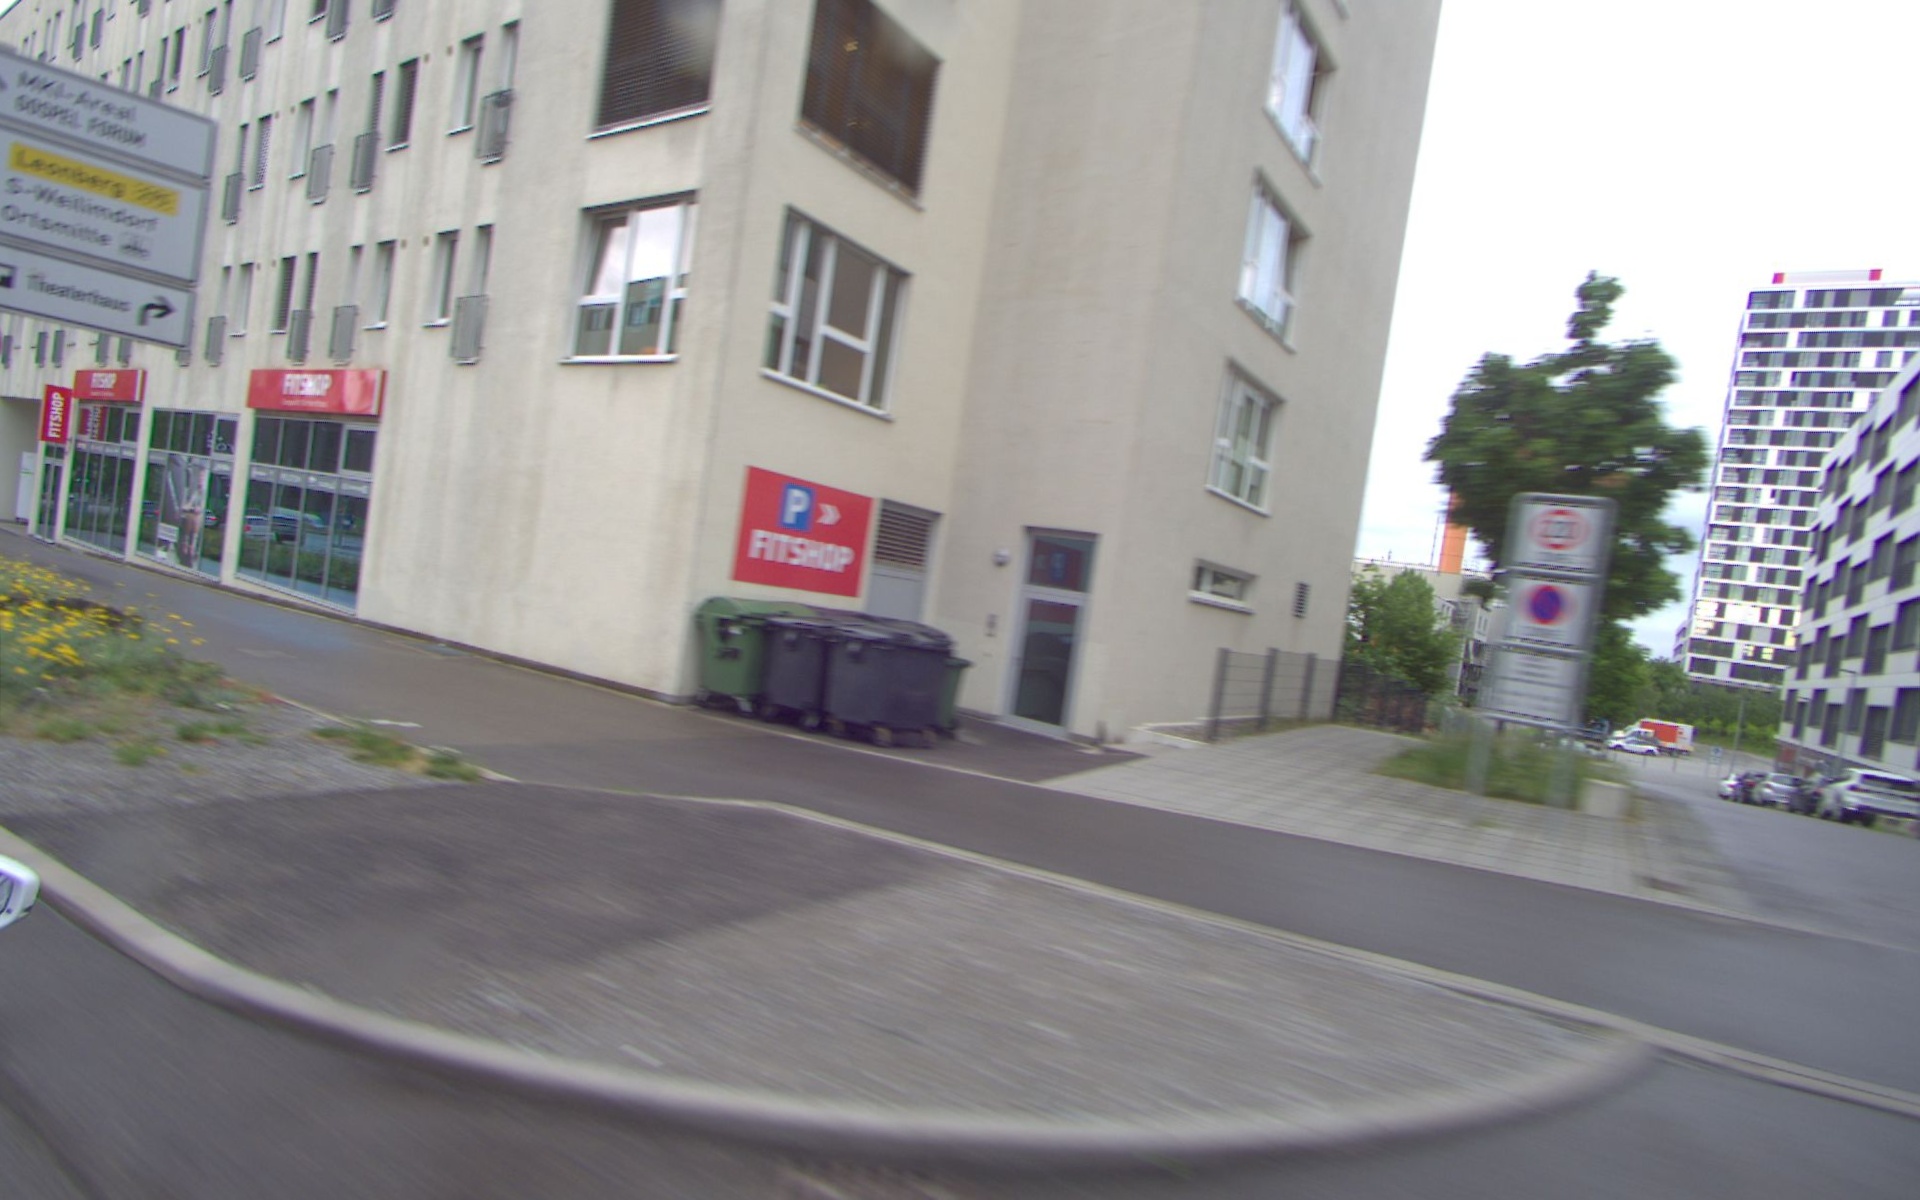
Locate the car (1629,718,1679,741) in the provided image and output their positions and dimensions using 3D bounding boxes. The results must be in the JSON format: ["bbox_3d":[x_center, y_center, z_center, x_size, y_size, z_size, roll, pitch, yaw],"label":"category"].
[{"bbox_3d":[77.039,14.382,111.728,4.334,1.805,1.892,7,-3,33],"label":"car"}]

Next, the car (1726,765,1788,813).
[{"bbox_3d":[37.025,8.735,46.808,1.637,1.574,3.803,7,0,32],"label":"car"}]

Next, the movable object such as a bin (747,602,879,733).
[{"bbox_3d":[-1.802,0.829,12.405,1.040,1.420,1.022,8,1,33],"label":"movable object such as a bin"}]

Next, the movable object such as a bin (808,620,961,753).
[{"bbox_3d":[-0.874,0.991,11.834,1.172,1.337,1.235,7,1,33],"label":"movable object such as a bin"}]

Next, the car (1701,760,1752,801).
[{"bbox_3d":[40.687,9.561,53.478,1.637,1.574,3.803,7,0,32],"label":"car"}]

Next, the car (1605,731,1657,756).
[{"bbox_3d":[64.849,13.897,97.344,3.934,1.633,1.892,7,-3,33],"label":"car"}]

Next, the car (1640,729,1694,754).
[{"bbox_3d":[73.172,14.645,104.171,4.334,1.805,1.892,7,-3,33],"label":"car"}]

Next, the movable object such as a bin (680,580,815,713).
[{"bbox_3d":[-2.706,0.600,12.883,0.997,1.522,1.174,8,1,34],"label":"movable object such as a bin"}]

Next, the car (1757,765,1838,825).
[{"bbox_3d":[31.342,7.271,37.759,1.637,1.574,3.803,7,0,32],"label":"car"}]

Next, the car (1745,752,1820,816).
[{"bbox_3d":[34.644,7.691,42.461,1.709,2.038,3.992,7,0,32],"label":"car"}]

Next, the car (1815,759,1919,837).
[{"bbox_3d":[26.068,5.612,28.856,1.637,1.574,3.803,7,0,32],"label":"car"}]

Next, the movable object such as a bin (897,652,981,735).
[{"bbox_3d":[-0.295,1.322,14.312,0.839,1.039,0.699,8,1,33],"label":"movable object such as a bin"}]

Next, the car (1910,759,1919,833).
[{"bbox_3d":[19.391,3.889,18.557,1.759,1.564,3.992,7,0,32],"label":"car"}]

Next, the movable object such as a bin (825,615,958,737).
[{"bbox_3d":[-0.906,1.011,13.498,1.094,1.420,1.262,8,1,33],"label":"movable object such as a bin"}]

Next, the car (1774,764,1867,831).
[{"bbox_3d":[28.728,6.534,33.699,1.637,1.574,3.803,7,0,32],"label":"car"}]
